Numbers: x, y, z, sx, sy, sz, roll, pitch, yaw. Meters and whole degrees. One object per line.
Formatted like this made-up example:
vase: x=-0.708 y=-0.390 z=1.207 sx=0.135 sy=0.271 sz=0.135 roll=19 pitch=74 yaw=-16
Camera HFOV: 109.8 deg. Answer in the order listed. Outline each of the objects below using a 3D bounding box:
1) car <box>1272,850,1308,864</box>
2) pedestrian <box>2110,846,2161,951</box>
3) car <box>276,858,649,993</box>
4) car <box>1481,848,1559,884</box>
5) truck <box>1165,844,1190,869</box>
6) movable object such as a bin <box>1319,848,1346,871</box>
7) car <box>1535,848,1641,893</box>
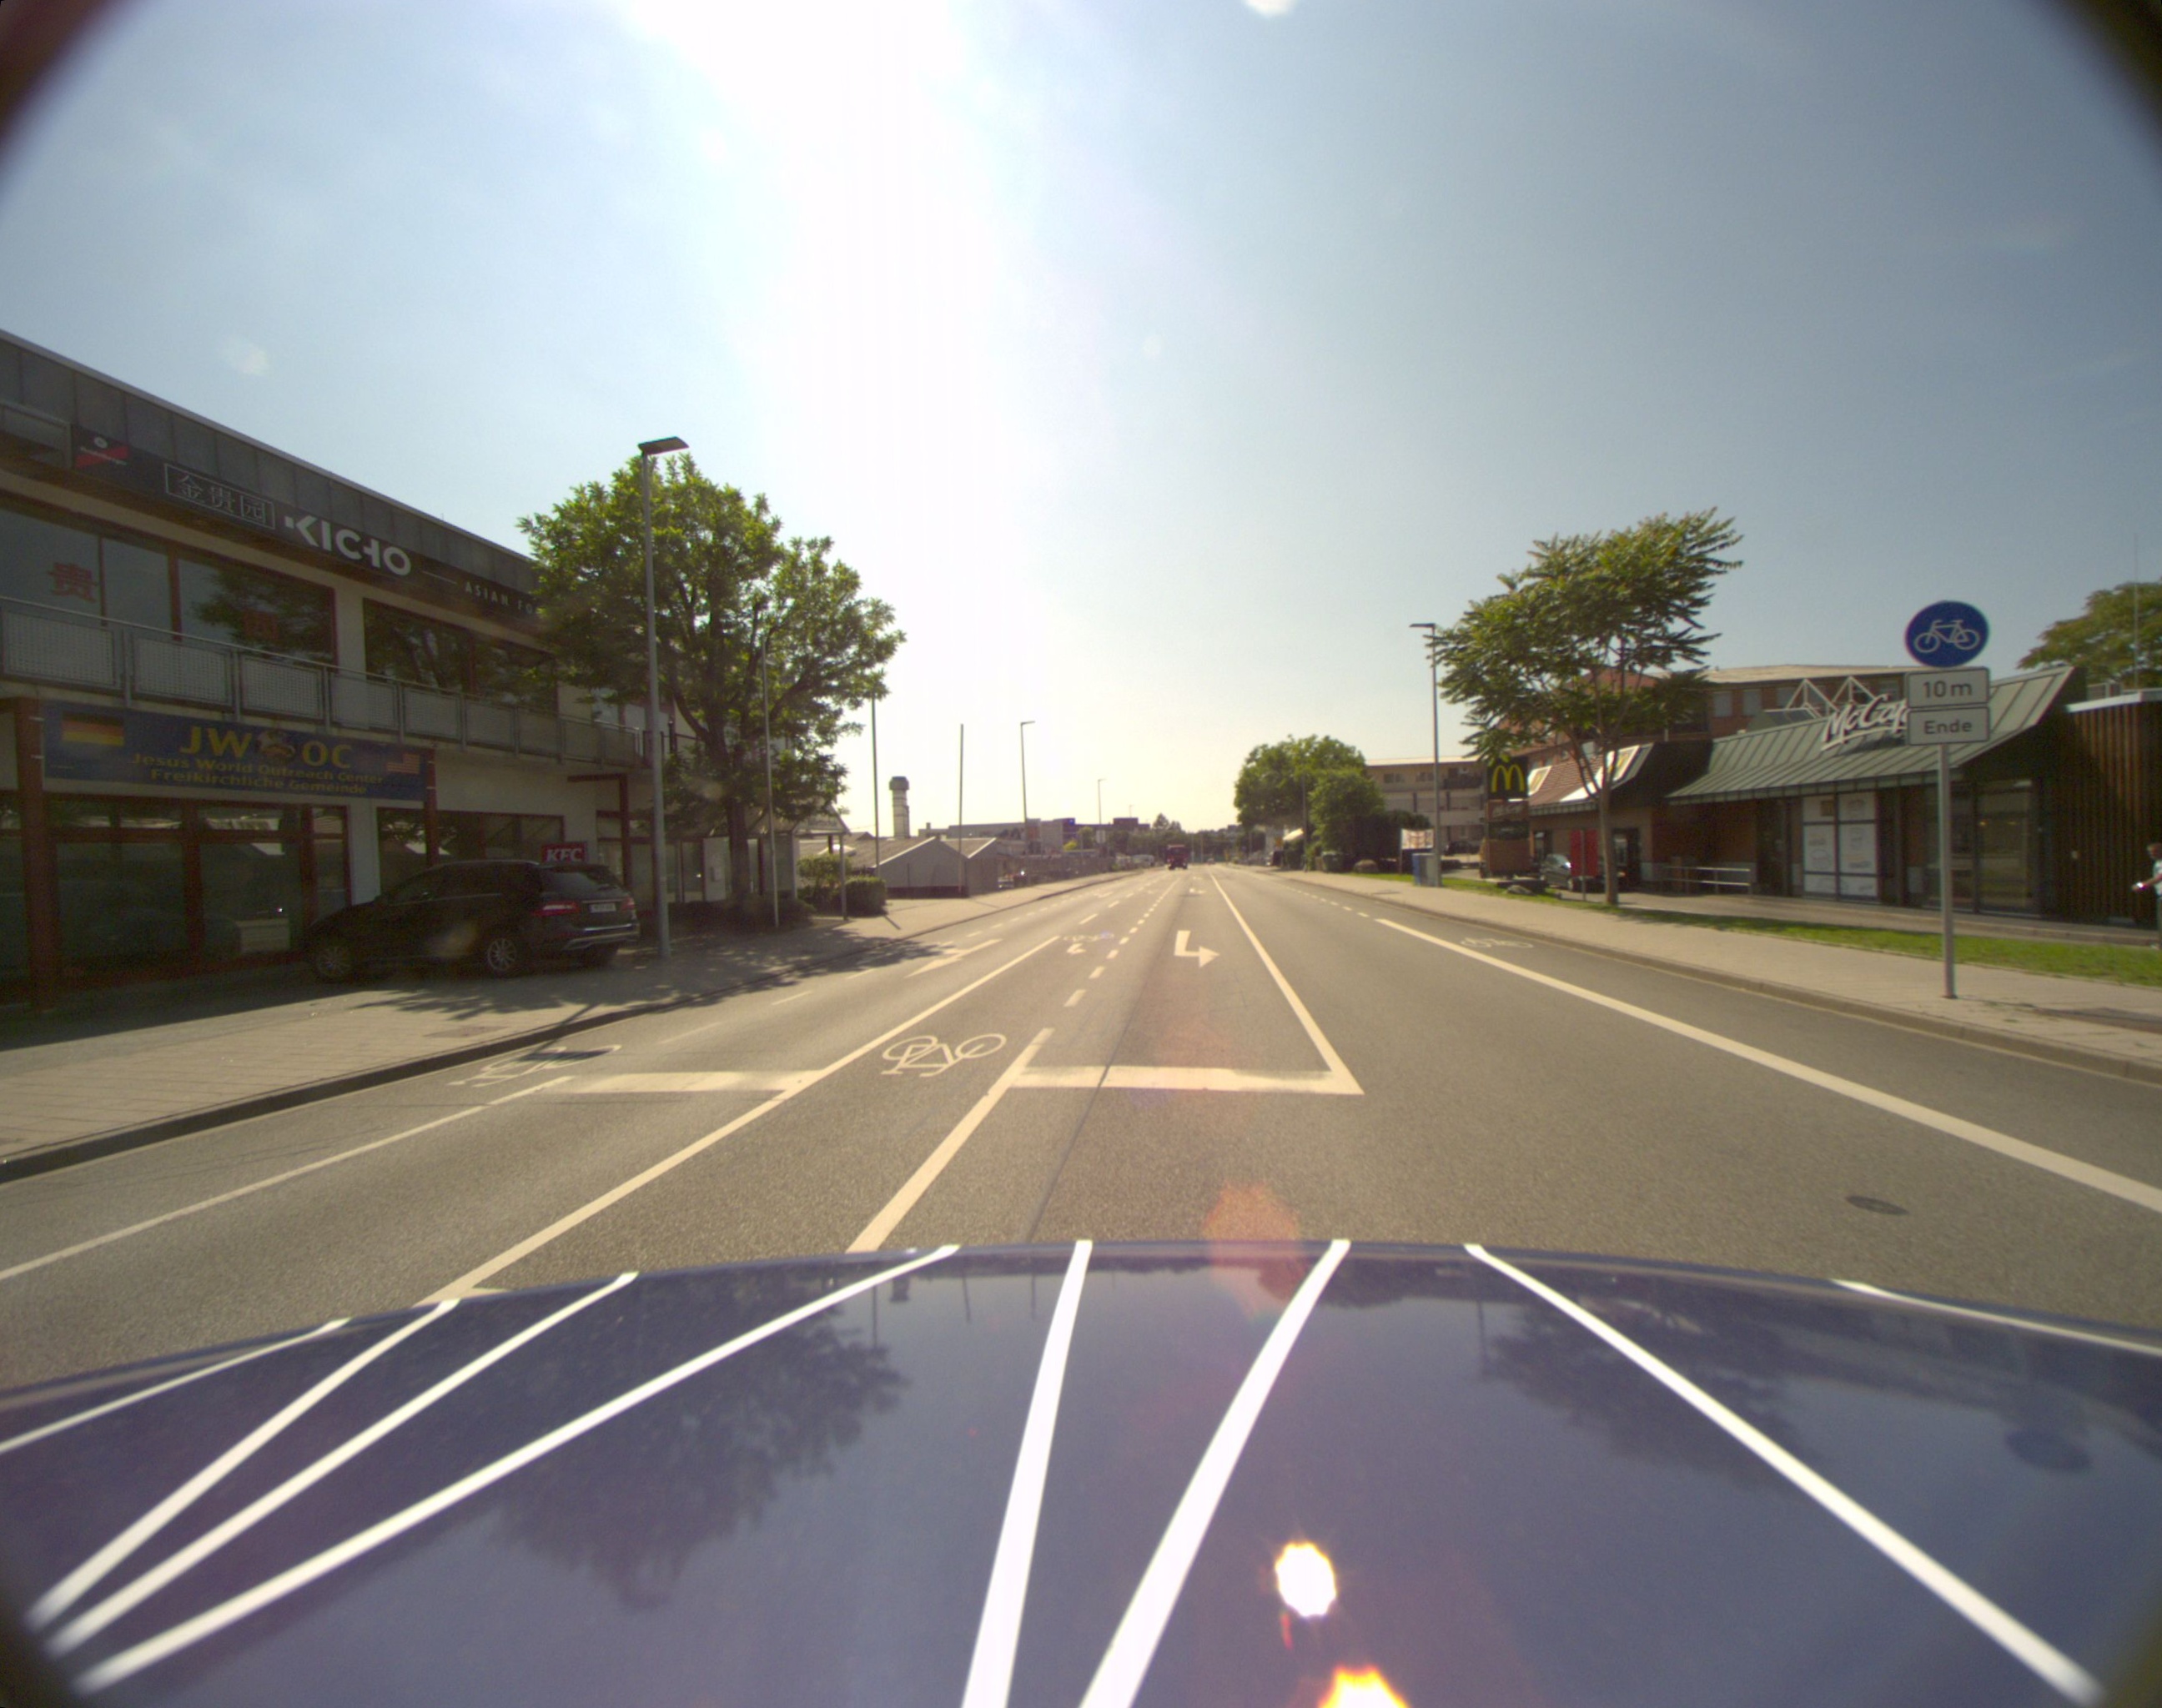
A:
car: x=23.713 y=0.312 z=86.214 sx=3.901 sy=1.390 sz=1.653 roll=-2 pitch=0 yaw=13
pedestrian: x=18.428 y=0.740 z=12.913 sx=0.638 sy=1.747 sz=0.892 roll=-2 pitch=1 yaw=-5
car: x=-9.571 y=1.078 z=11.936 sx=4.652 sy=1.845 sz=1.809 roll=-2 pitch=1 yaw=8
car: x=20.711 y=0.519 z=36.049 sx=1.863 sy=1.543 sz=4.191 roll=-2 pitch=0 yaw=10
truck: x=13.951 y=0.312 z=109.405 sx=3.310 sy=3.366 sz=9.172 roll=-2 pitch=1 yaw=8
movable object such as a bin: x=16.597 y=0.357 z=50.193 sx=1.467 sy=1.403 sz=1.456 roll=-2 pitch=1 yaw=9
car: x=19.497 y=0.587 z=29.467 sx=1.863 sy=1.543 sz=4.191 roll=-2 pitch=0 yaw=10
